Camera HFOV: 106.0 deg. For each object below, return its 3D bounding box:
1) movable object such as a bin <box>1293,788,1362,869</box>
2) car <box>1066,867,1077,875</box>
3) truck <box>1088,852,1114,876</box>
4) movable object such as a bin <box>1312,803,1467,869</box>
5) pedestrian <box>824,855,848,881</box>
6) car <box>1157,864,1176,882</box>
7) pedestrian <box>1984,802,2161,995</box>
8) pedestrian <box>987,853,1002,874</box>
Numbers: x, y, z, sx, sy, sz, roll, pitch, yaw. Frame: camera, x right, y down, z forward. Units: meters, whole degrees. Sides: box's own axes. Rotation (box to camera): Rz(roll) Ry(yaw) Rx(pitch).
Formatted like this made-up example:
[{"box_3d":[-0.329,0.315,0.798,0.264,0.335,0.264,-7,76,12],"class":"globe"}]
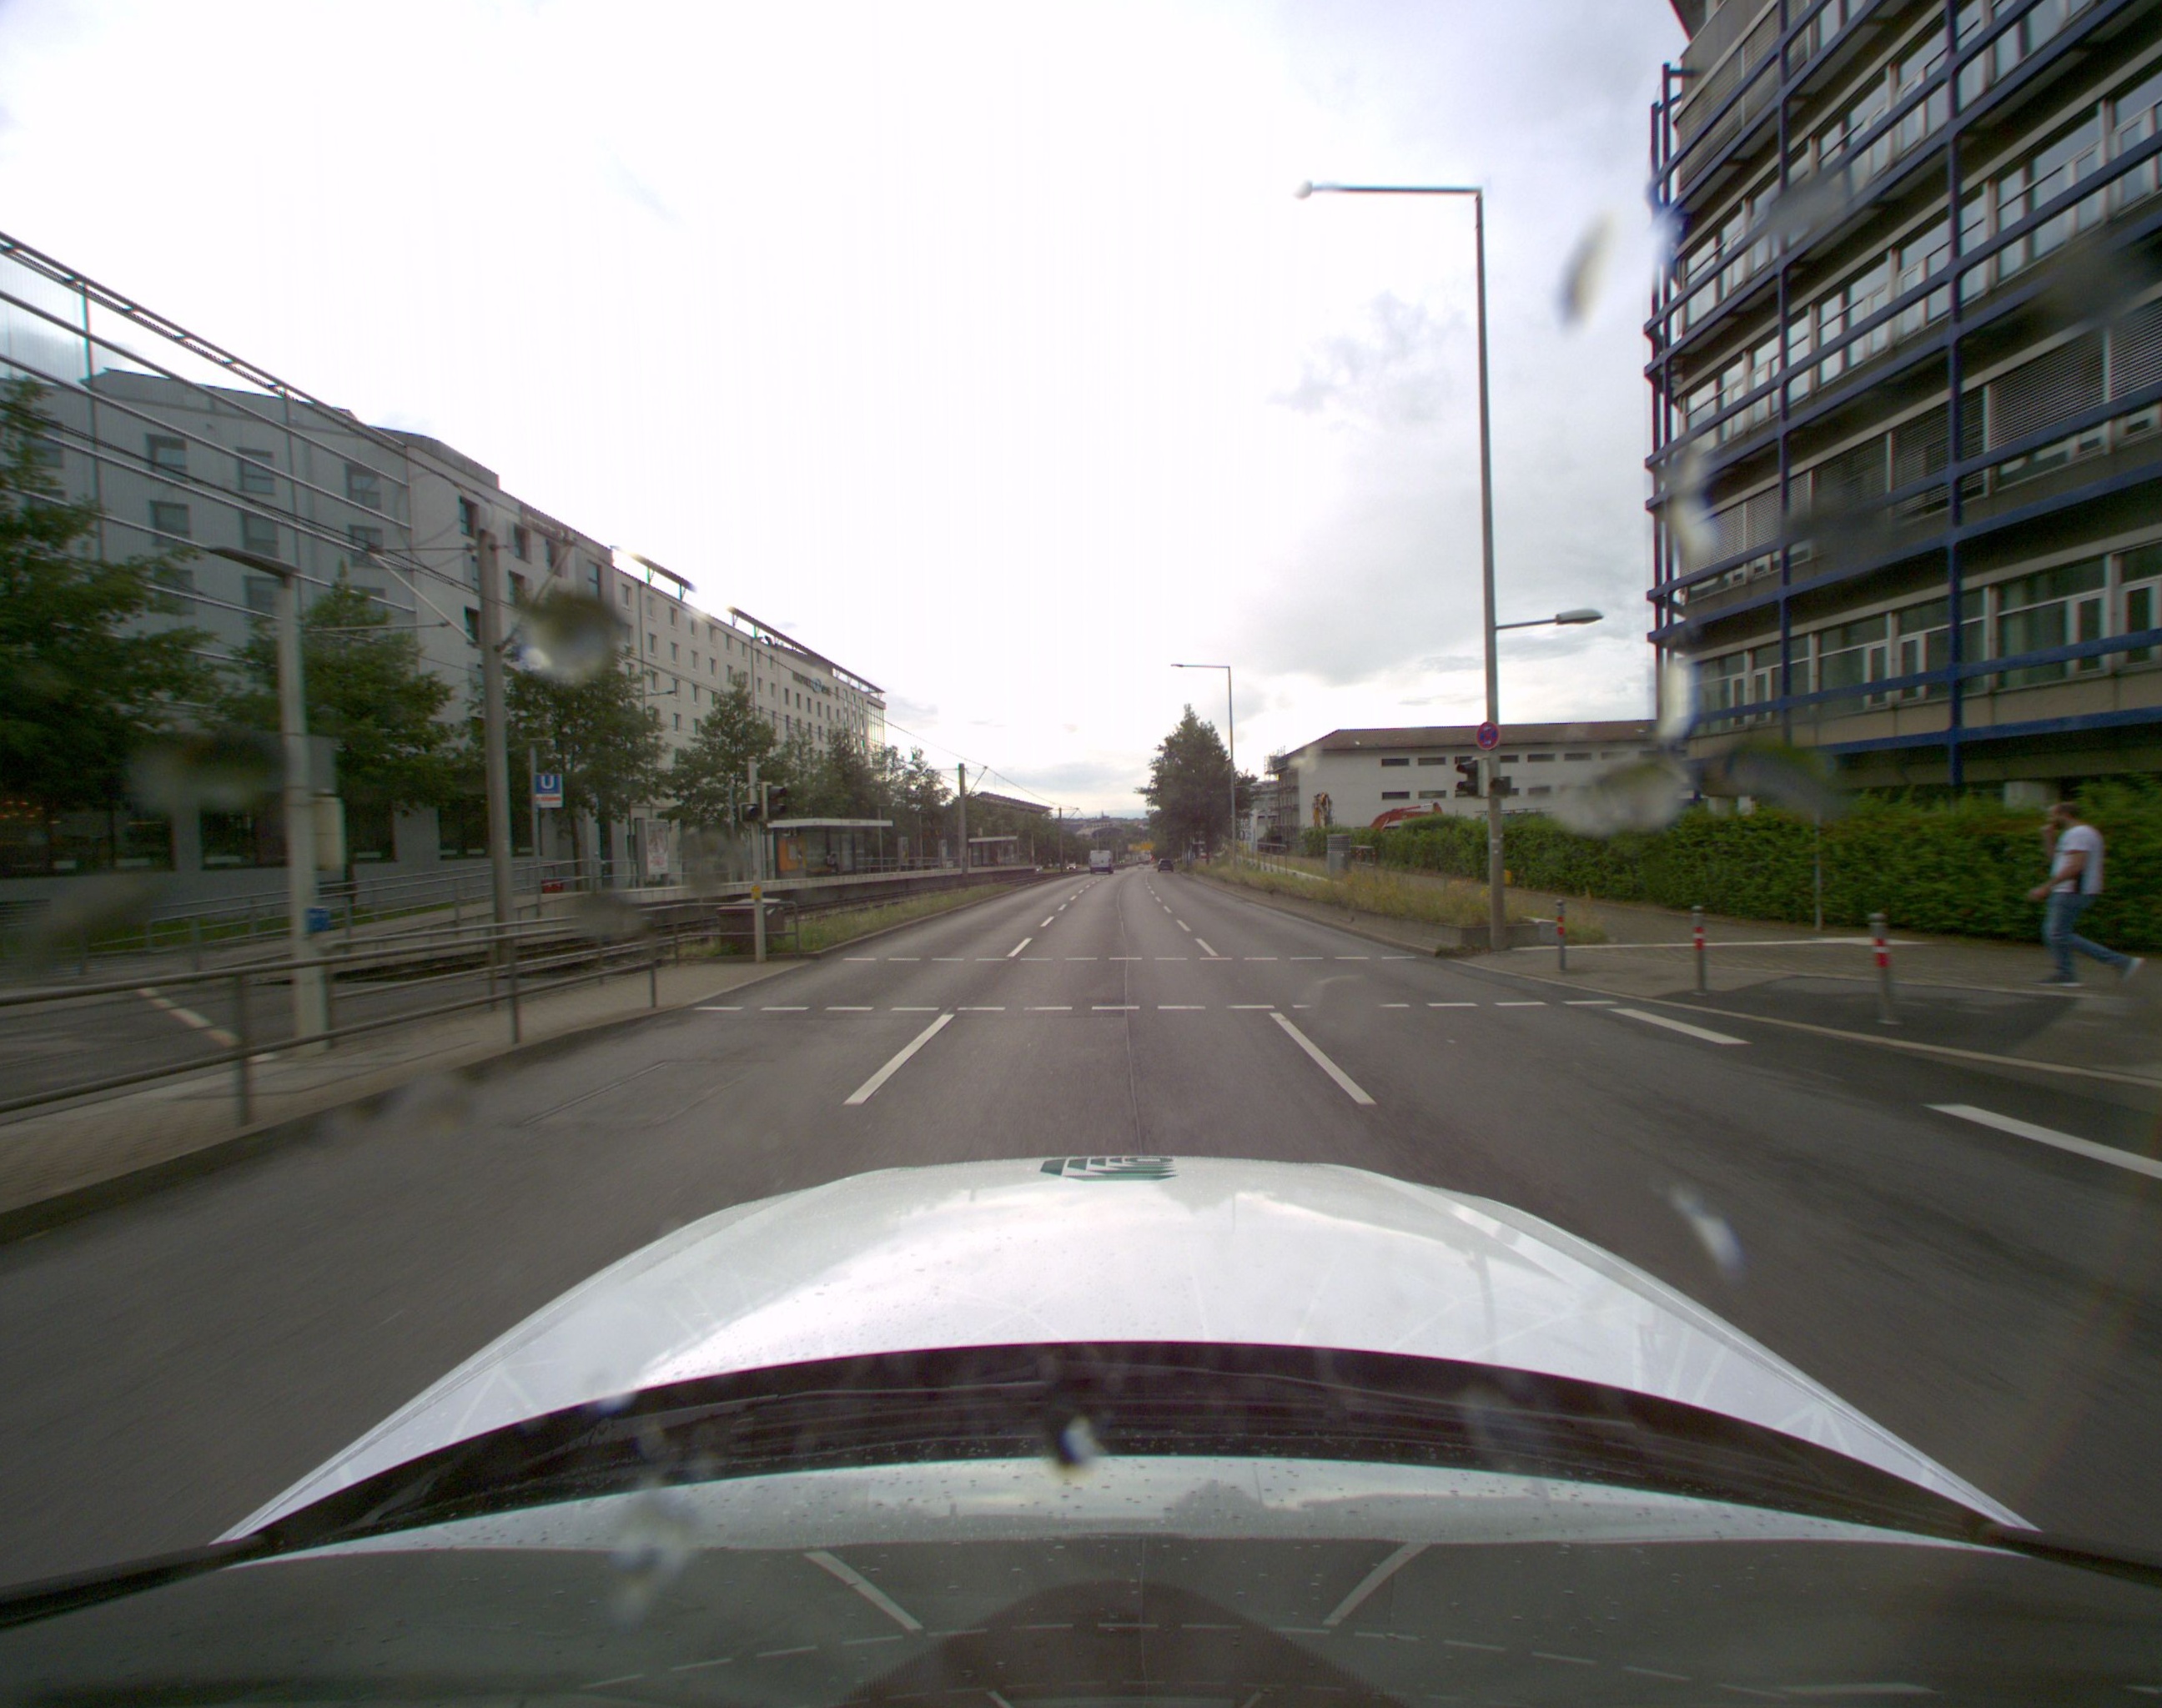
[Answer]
[{"box_3d":[18.445,-1.728,61.551,3.274,5.685,8.776,0,-1,5],"class":"movable object such as a bin"},{"box_3d":[-2.303,4.069,194.358,1.984,1.847,5.009,-3,-1,5],"class":"car"},{"box_3d":[1.966,0.997,79.760,2.350,2.262,5.310,0,-1,3],"class":"truck"},{"box_3d":[27.100,-1.525,72.089,12.092,5.262,3.791,-2,-2,2],"class":"movable object such as a bin"},{"box_3d":[-12.676,0.711,42.192,0.957,1.300,0.685,-2,-1,3],"class":"pedestrian"},{"box_3d":[9.562,2.135,91.098,1.984,2.014,3.940,0,-1,6],"class":"car"},{"box_3d":[9.024,0.387,7.443,0.553,1.652,0.830,-1,-1,-7],"class":"pedestrian"},{"box_3d":[-8.468,0.905,79.678,1.259,2.014,1.132,0,-1,7],"class":"pedestrian"}]
